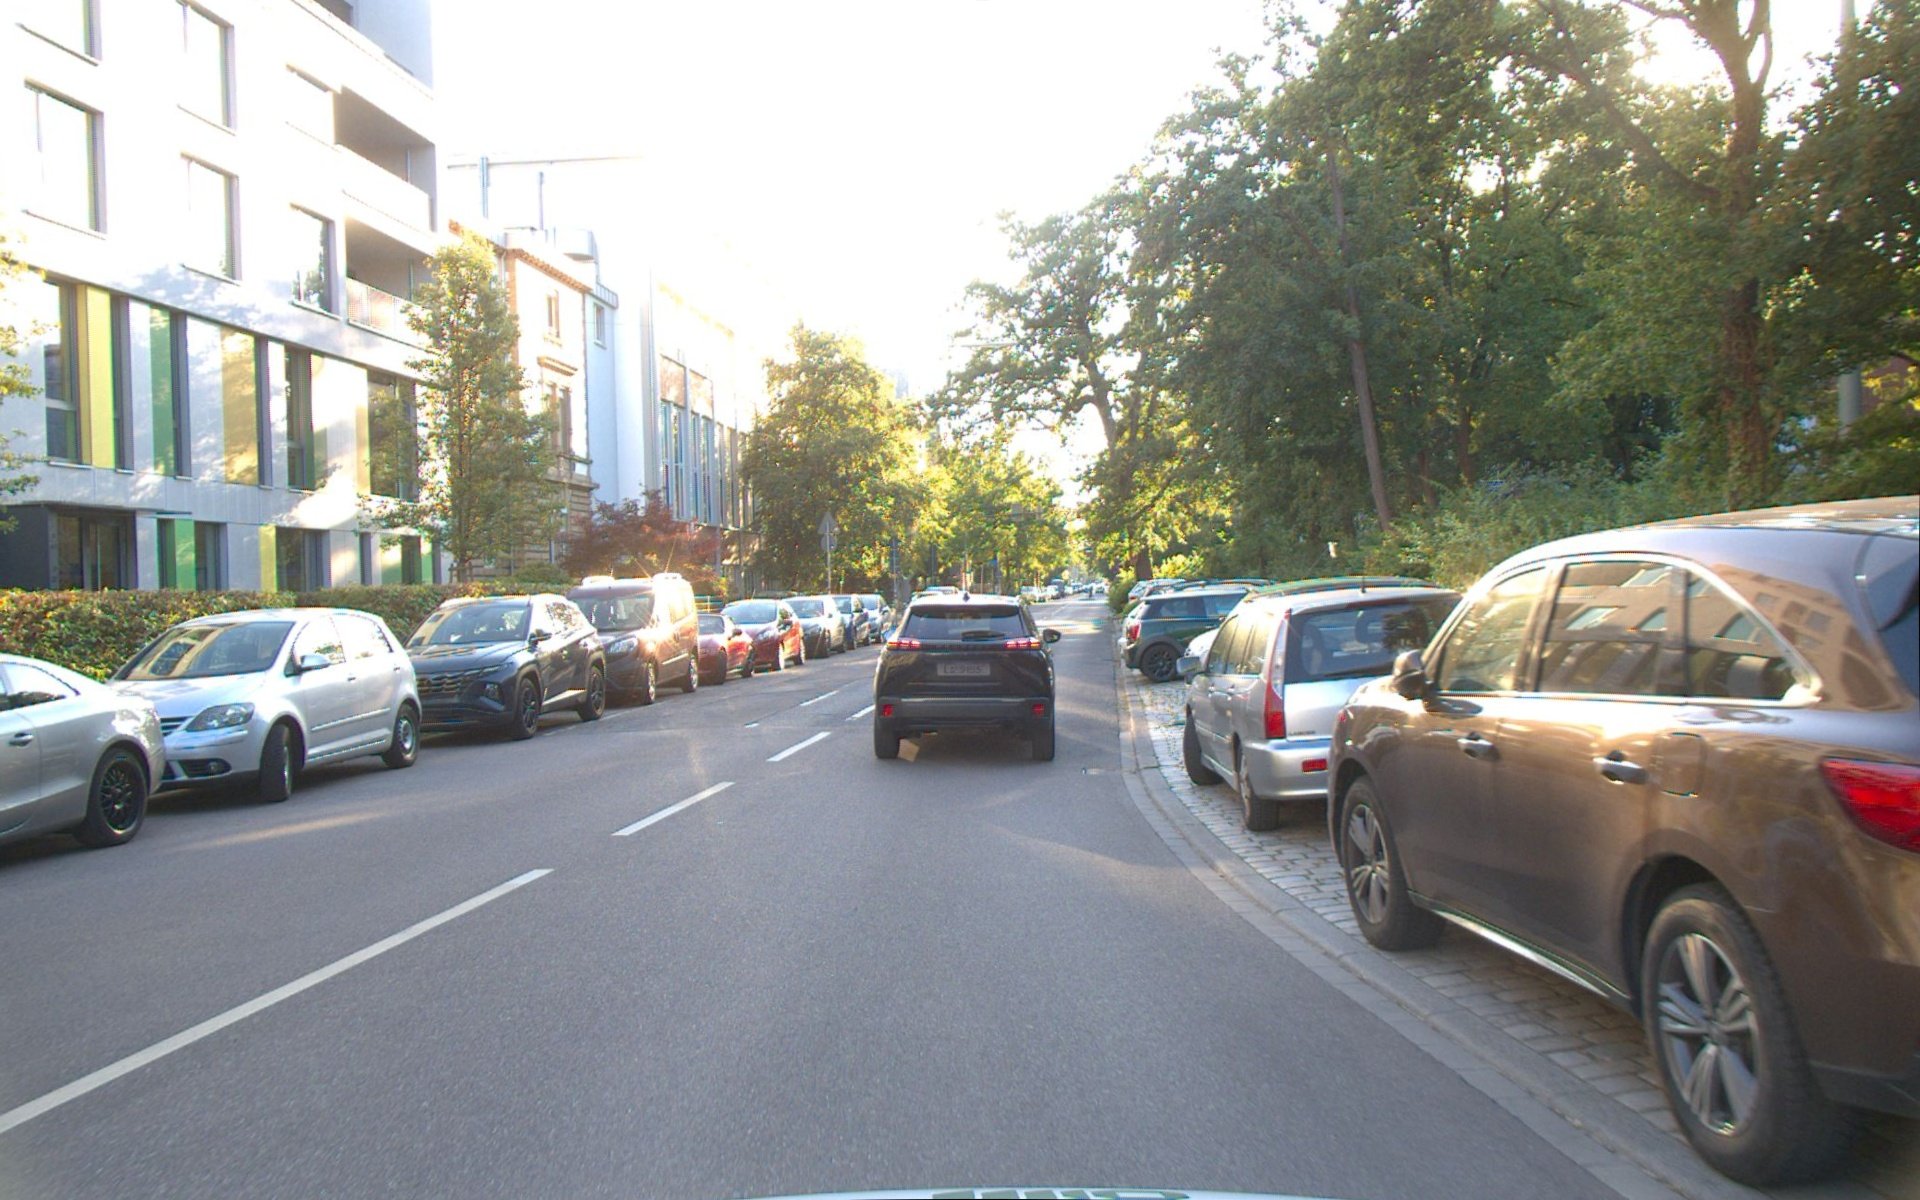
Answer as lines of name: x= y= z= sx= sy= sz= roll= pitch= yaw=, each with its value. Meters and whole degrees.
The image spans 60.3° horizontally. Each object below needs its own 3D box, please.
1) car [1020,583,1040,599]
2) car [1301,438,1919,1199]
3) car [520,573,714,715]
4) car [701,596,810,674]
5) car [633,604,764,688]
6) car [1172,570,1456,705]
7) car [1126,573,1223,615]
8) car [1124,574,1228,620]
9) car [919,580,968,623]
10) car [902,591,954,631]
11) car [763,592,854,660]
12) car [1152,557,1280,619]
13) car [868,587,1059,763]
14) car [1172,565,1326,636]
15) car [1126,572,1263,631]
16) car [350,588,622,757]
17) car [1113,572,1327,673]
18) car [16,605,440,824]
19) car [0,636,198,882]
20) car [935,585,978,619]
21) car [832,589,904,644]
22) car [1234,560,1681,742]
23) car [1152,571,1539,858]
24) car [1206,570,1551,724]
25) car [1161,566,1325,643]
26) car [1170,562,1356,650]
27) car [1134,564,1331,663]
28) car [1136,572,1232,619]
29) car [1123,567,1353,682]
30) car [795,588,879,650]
car: x=6.640 y=-0.876 z=157.163 sx=1.773 sy=1.377 sz=4.000 roll=-2 pitch=1 yaw=0
car: x=2.734 y=0.513 z=5.577 sx=1.884 sy=1.779 sz=4.663 roll=-2 pitch=0 yaw=-4
car: x=-5.235 y=0.594 z=25.814 sx=1.769 sy=1.922 sz=4.241 roll=-3 pitch=1 yaw=4
car: x=-4.318 y=0.703 z=35.426 sx=1.565 sy=1.480 sz=3.864 roll=-2 pitch=0 yaw=4
car: x=-4.768 y=0.810 z=30.601 sx=1.523 sy=1.302 sz=3.735 roll=-3 pitch=1 yaw=4
car: x=4.482 y=0.472 z=21.290 sx=3.314 sy=1.552 sz=1.672 roll=-2 pitch=0 yaw=3
car: x=9.281 y=-0.269 z=71.458 sx=4.081 sy=1.740 sz=1.869 roll=-1 pitch=1 yaw=9
car: x=8.685 y=-0.143 z=66.751 sx=4.035 sy=1.696 sz=1.724 roll=-2 pitch=0 yaw=5
car: x=-0.722 y=0.023 z=74.091 sx=1.644 sy=1.738 sz=4.344 roll=-3 pitch=1 yaw=6
car: x=-1.314 y=0.420 z=68.568 sx=1.635 sy=1.520 sz=4.064 roll=-2 pitch=0 yaw=6
car: x=-3.754 y=0.603 z=41.538 sx=1.565 sy=1.480 sz=4.057 roll=-3 pitch=1 yaw=4
car: x=7.901 y=-0.374 z=51.284 sx=3.636 sy=1.582 sz=1.742 roll=-5 pitch=0 yaw=1
car: x=0.129 y=0.668 z=16.732 sx=1.731 sy=1.596 sz=3.382 roll=0 pitch=0 yaw=3
car: x=7.488 y=0.011 z=43.113 sx=3.728 sy=1.500 sz=1.833 roll=-5 pitch=-1 yaw=5
car: x=7.544 y=0.032 z=53.484 sx=4.246 sy=1.500 sz=1.743 roll=-5 pitch=1 yaw=6
car: x=-5.649 y=0.781 z=20.321 sx=1.705 sy=1.705 sz=4.419 roll=-3 pitch=1 yaw=4
car: x=4.671 y=0.380 z=30.111 sx=3.590 sy=1.469 sz=1.736 roll=-5 pitch=1 yaw=3
car: x=-6.266 y=0.889 z=14.745 sx=1.705 sy=1.560 sz=4.117 roll=-2 pitch=0 yaw=3
car: x=-6.555 y=1.013 z=9.776 sx=1.705 sy=1.380 sz=4.399 roll=-2 pitch=0 yaw=5
car: x=-0.135 y=0.088 z=80.463 sx=1.644 sy=1.482 sz=3.885 roll=-3 pitch=1 yaw=6
car: x=-2.790 y=0.477 z=51.010 sx=1.567 sy=1.519 sz=3.775 roll=-3 pitch=1 yaw=6
car: x=4.743 y=0.471 z=16.217 sx=3.866 sy=1.538 sz=1.740 roll=-2 pitch=0 yaw=4
car: x=2.487 y=0.647 z=11.740 sx=1.617 sy=1.595 sz=4.300 roll=-2 pitch=0 yaw=-1
car: x=4.642 y=0.501 z=18.756 sx=3.550 sy=1.567 sz=1.673 roll=-2 pitch=1 yaw=5
car: x=6.849 y=0.108 z=40.331 sx=3.728 sy=1.500 sz=1.758 roll=-5 pitch=-1 yaw=5
car: x=6.407 y=0.127 z=35.322 sx=3.647 sy=1.524 sz=1.821 roll=-5 pitch=-1 yaw=5
car: x=5.334 y=0.250 z=32.744 sx=3.590 sy=1.579 sz=1.736 roll=-5 pitch=1 yaw=3
car: x=8.658 y=-0.166 z=64.262 sx=3.513 sy=1.593 sz=1.819 roll=-4 pitch=-1 yaw=4
car: x=4.593 y=0.383 z=27.714 sx=3.535 sy=1.551 sz=1.672 roll=-5 pitch=1 yaw=3
car: x=-3.397 y=0.500 z=46.463 sx=1.564 sy=1.534 sz=3.790 roll=-3 pitch=1 yaw=7
